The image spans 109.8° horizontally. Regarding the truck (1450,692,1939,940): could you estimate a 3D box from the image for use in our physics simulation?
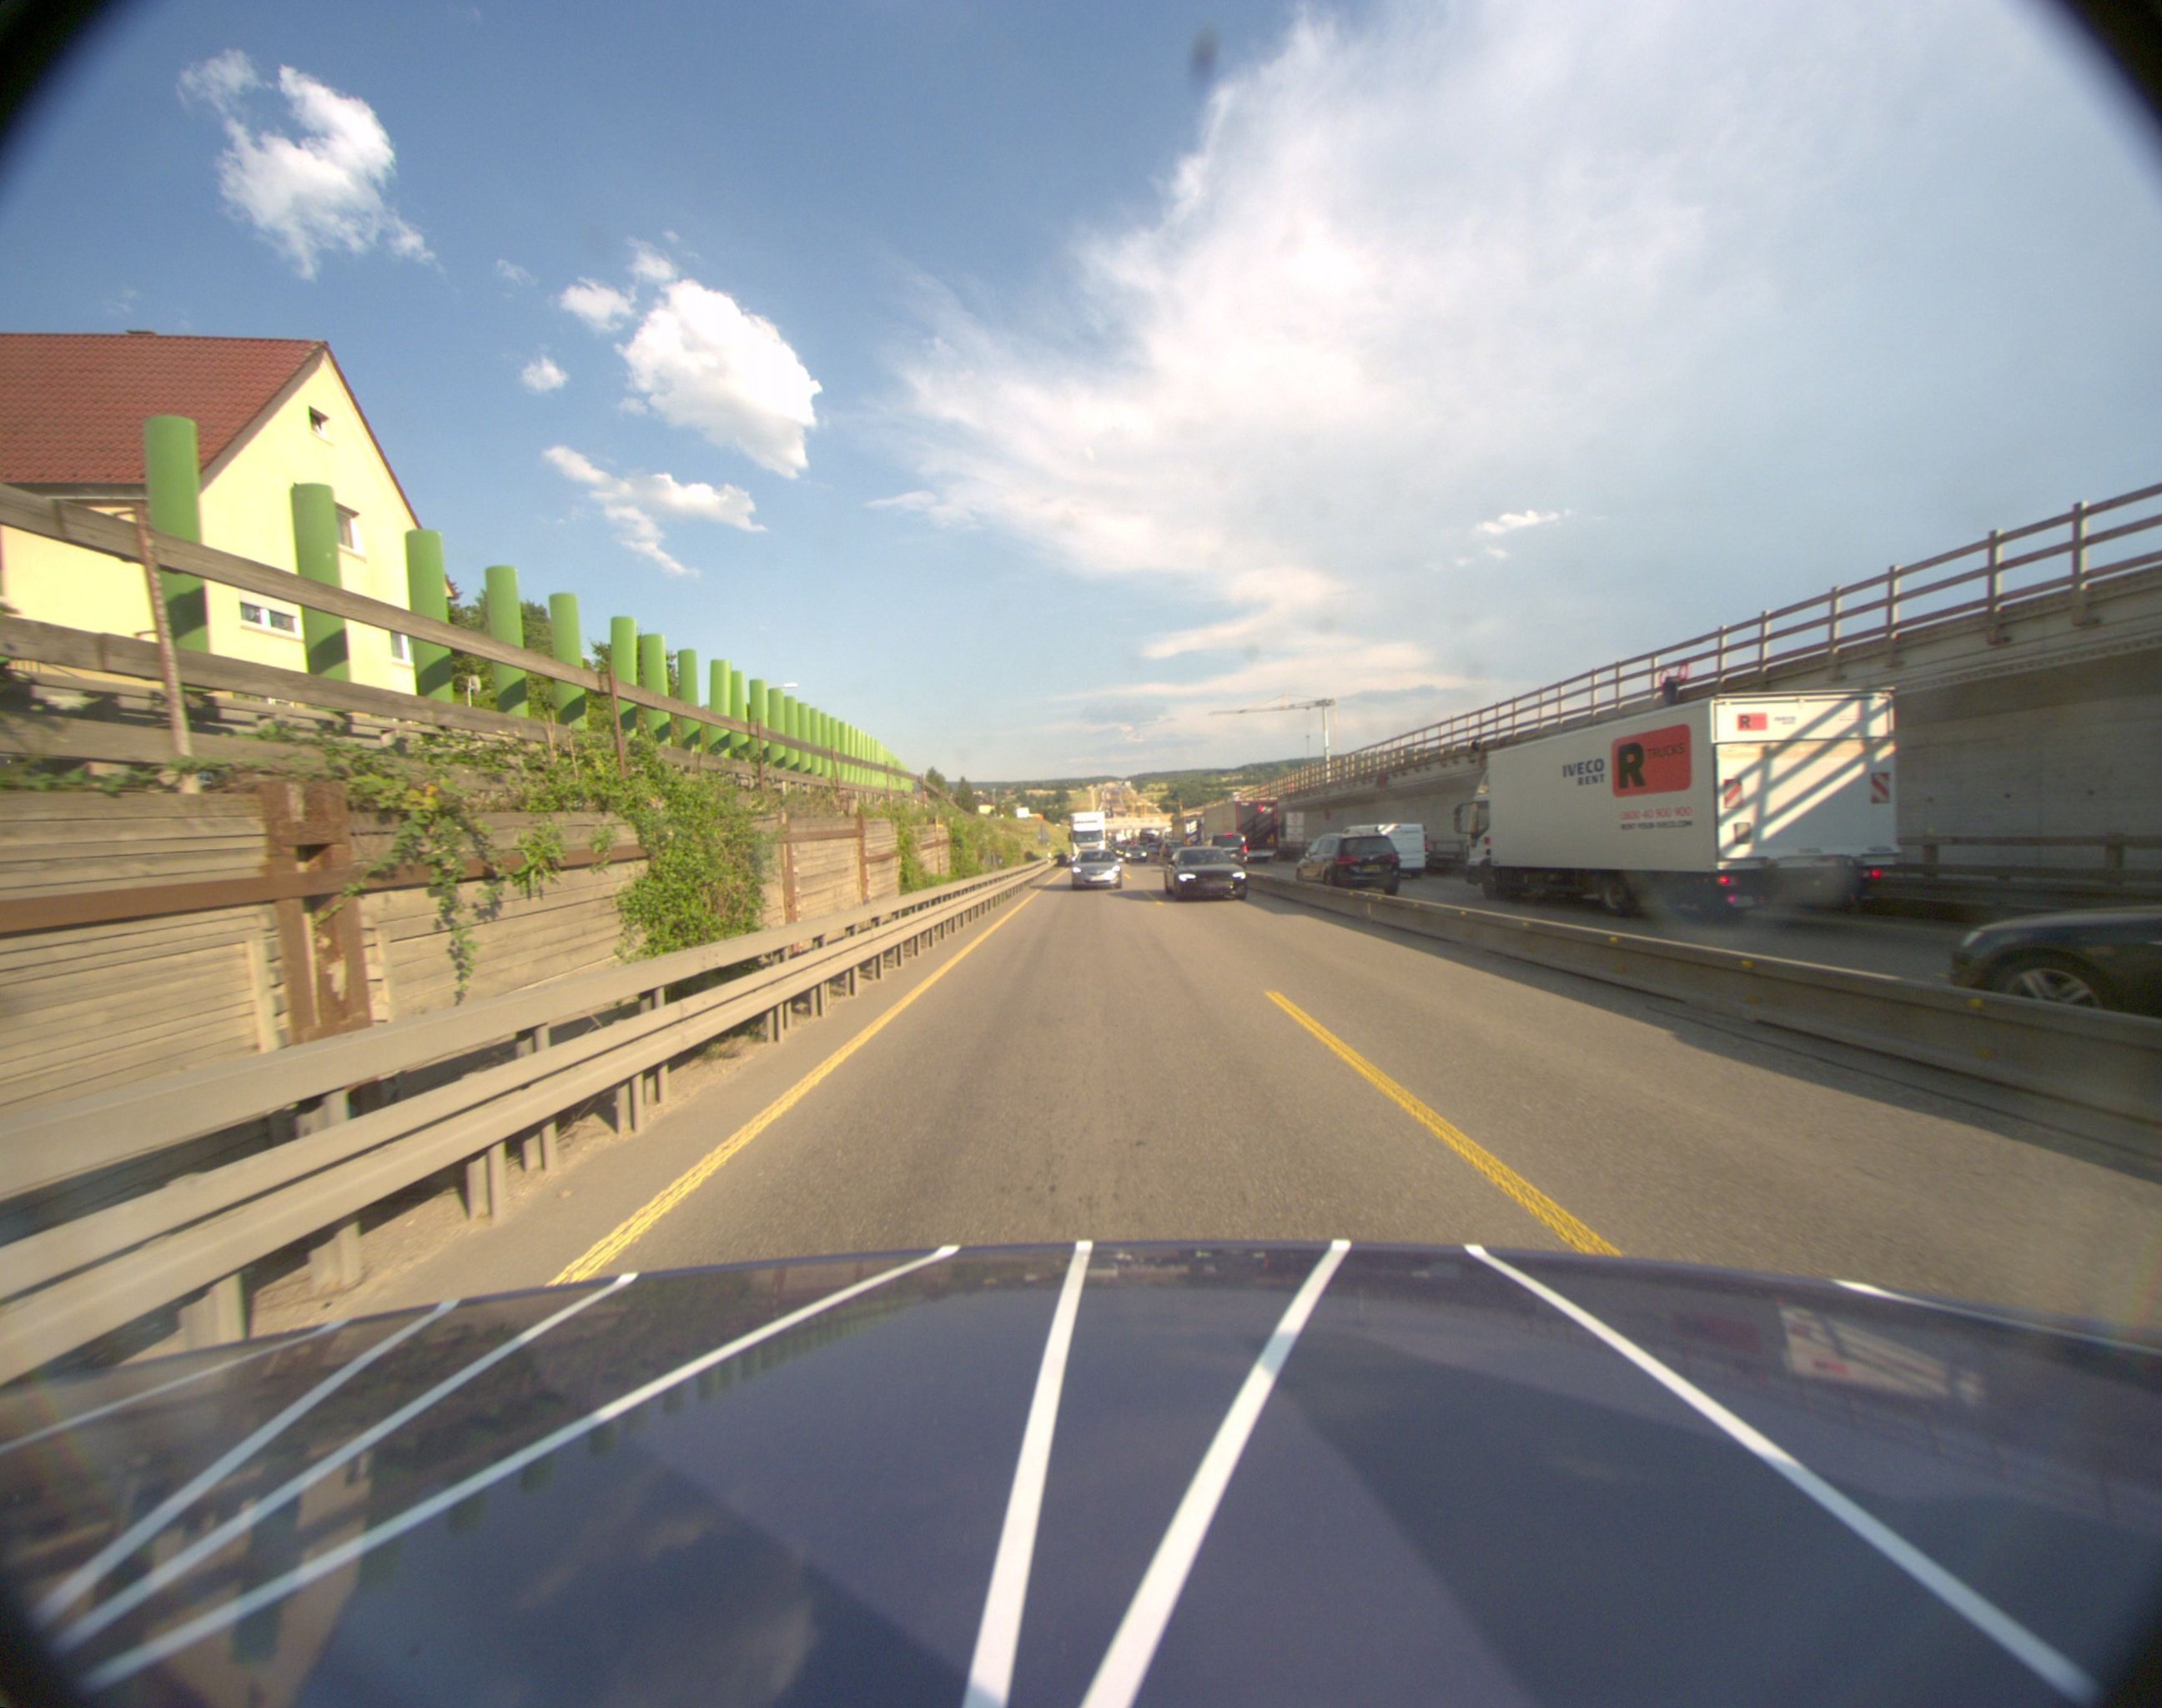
[{"bbox_3d":[10.403,-0.636,14.539,2.721,3.405,8.138,0,2,0],"label":"truck"}]

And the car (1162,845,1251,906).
[{"bbox_3d":[3.432,0.534,21.563,1.873,1.411,4.348,-2,2,1],"label":"car"}]

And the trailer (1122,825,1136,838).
[{"bbox_3d":[15.479,-7.210,244.982,2.933,4.014,13.766,-3,2,-2],"label":"trailer"}]

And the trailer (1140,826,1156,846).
[{"bbox_3d":[14.020,-3.737,159.065,2.778,4.008,7.206,-3,2,2],"label":"trailer"}]

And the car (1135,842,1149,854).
[{"bbox_3d":[9.074,-0.881,112.858,1.645,1.636,4.687,-3,2,1],"label":"car"}]

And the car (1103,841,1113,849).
[{"bbox_3d":[5.618,-1.933,160.903,1.998,1.696,3.999,-2,1,1],"label":"car"}]

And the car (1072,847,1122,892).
[{"bbox_3d":[0.592,0.506,27.866,1.671,1.425,3.523,-2,2,1],"label":"car"}]

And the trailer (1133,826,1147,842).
[{"bbox_3d":[15.278,-5.210,197.558,2.659,3.829,13.439,-3,2,1],"label":"trailer"}]

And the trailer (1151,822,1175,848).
[{"bbox_3d":[11.889,-2.764,110.882,2.563,3.507,10.679,-3,2,2],"label":"trailer"}]

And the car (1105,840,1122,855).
[{"bbox_3d":[3.973,-0.781,94.145,1.917,1.746,3.999,-1,1,1],"label":"car"}]

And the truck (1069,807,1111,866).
[{"bbox_3d":[0.839,-1.444,60.030,2.741,4.034,12.668,-3,2,2],"label":"truck"}]

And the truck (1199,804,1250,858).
[{"bbox_3d":[11.279,-1.813,60.050,2.867,3.986,5.656,-3,2,1],"label":"truck"}]

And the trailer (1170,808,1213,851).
[{"bbox_3d":[11.818,-2.495,82.592,2.771,4.117,14.024,-3,1,2],"label":"trailer"}]

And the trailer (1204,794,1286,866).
[{"bbox_3d":[11.097,-1.684,53.139,2.920,4.216,13.765,-3,2,2],"label":"trailer"}]

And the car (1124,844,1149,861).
[{"bbox_3d":[4.616,-0.153,63.730,1.692,1.294,3.882,-3,2,0],"label":"car"}]

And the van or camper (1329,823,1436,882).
[{"bbox_3d":[11.016,-0.101,28.174,1.922,1.911,4.921,-3,1,0],"label":"van or camper"}]

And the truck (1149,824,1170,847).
[{"bbox_3d":[12.095,-2.871,117.272,2.555,3.390,5.530,-3,2,1],"label":"truck"}]

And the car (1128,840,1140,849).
[{"bbox_3d":[9.600,-1.770,137.771,1.729,1.548,4.296,-3,1,1],"label":"car"}]

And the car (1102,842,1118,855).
[{"bbox_3d":[3.910,-0.742,102.711,1.917,1.746,3.999,-1,1,1],"label":"car"}]

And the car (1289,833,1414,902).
[{"bbox_3d":[7.390,0.273,21.260,1.836,1.636,4.687,-3,2,1],"label":"car"}]

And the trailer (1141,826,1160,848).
[{"bbox_3d":[13.744,-3.501,151.610,2.778,4.008,15.760,-3,2,2],"label":"trailer"}]

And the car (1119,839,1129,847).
[{"bbox_3d":[9.044,-2.386,159.136,1.770,1.543,4.834,-3,2,0],"label":"car"}]

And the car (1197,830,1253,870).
[{"bbox_3d":[7.645,-0.240,40.878,1.990,1.911,5.290,-3,1,1],"label":"car"}]

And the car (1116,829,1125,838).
[{"bbox_3d":[12.398,-6.471,239.995,1.999,2.608,7.406,-3,2,-1],"label":"car"}]

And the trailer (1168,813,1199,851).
[{"bbox_3d":[12.011,-2.533,89.294,2.771,4.117,5.976,-3,1,2],"label":"trailer"}]

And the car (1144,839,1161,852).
[{"bbox_3d":[8.655,-1.038,92.053,1.645,1.451,4.595,-3,2,1],"label":"car"}]

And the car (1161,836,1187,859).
[{"bbox_3d":[8.234,-0.611,67.482,1.826,1.762,5.139,-3,2,3],"label":"car"}]

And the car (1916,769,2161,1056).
[{"bbox_3d":[6.807,0.315,3.130,1.746,1.587,4.556,-3,2,0],"label":"car"}]

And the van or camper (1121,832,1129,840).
[{"bbox_3d":[12.716,-5.203,218.104,1.863,2.002,5.294,-3,2,0],"label":"van or camper"}]

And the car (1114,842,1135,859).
[{"bbox_3d":[4.694,-0.446,82.748,1.998,1.740,3.999,-2,1,0],"label":"car"}]
